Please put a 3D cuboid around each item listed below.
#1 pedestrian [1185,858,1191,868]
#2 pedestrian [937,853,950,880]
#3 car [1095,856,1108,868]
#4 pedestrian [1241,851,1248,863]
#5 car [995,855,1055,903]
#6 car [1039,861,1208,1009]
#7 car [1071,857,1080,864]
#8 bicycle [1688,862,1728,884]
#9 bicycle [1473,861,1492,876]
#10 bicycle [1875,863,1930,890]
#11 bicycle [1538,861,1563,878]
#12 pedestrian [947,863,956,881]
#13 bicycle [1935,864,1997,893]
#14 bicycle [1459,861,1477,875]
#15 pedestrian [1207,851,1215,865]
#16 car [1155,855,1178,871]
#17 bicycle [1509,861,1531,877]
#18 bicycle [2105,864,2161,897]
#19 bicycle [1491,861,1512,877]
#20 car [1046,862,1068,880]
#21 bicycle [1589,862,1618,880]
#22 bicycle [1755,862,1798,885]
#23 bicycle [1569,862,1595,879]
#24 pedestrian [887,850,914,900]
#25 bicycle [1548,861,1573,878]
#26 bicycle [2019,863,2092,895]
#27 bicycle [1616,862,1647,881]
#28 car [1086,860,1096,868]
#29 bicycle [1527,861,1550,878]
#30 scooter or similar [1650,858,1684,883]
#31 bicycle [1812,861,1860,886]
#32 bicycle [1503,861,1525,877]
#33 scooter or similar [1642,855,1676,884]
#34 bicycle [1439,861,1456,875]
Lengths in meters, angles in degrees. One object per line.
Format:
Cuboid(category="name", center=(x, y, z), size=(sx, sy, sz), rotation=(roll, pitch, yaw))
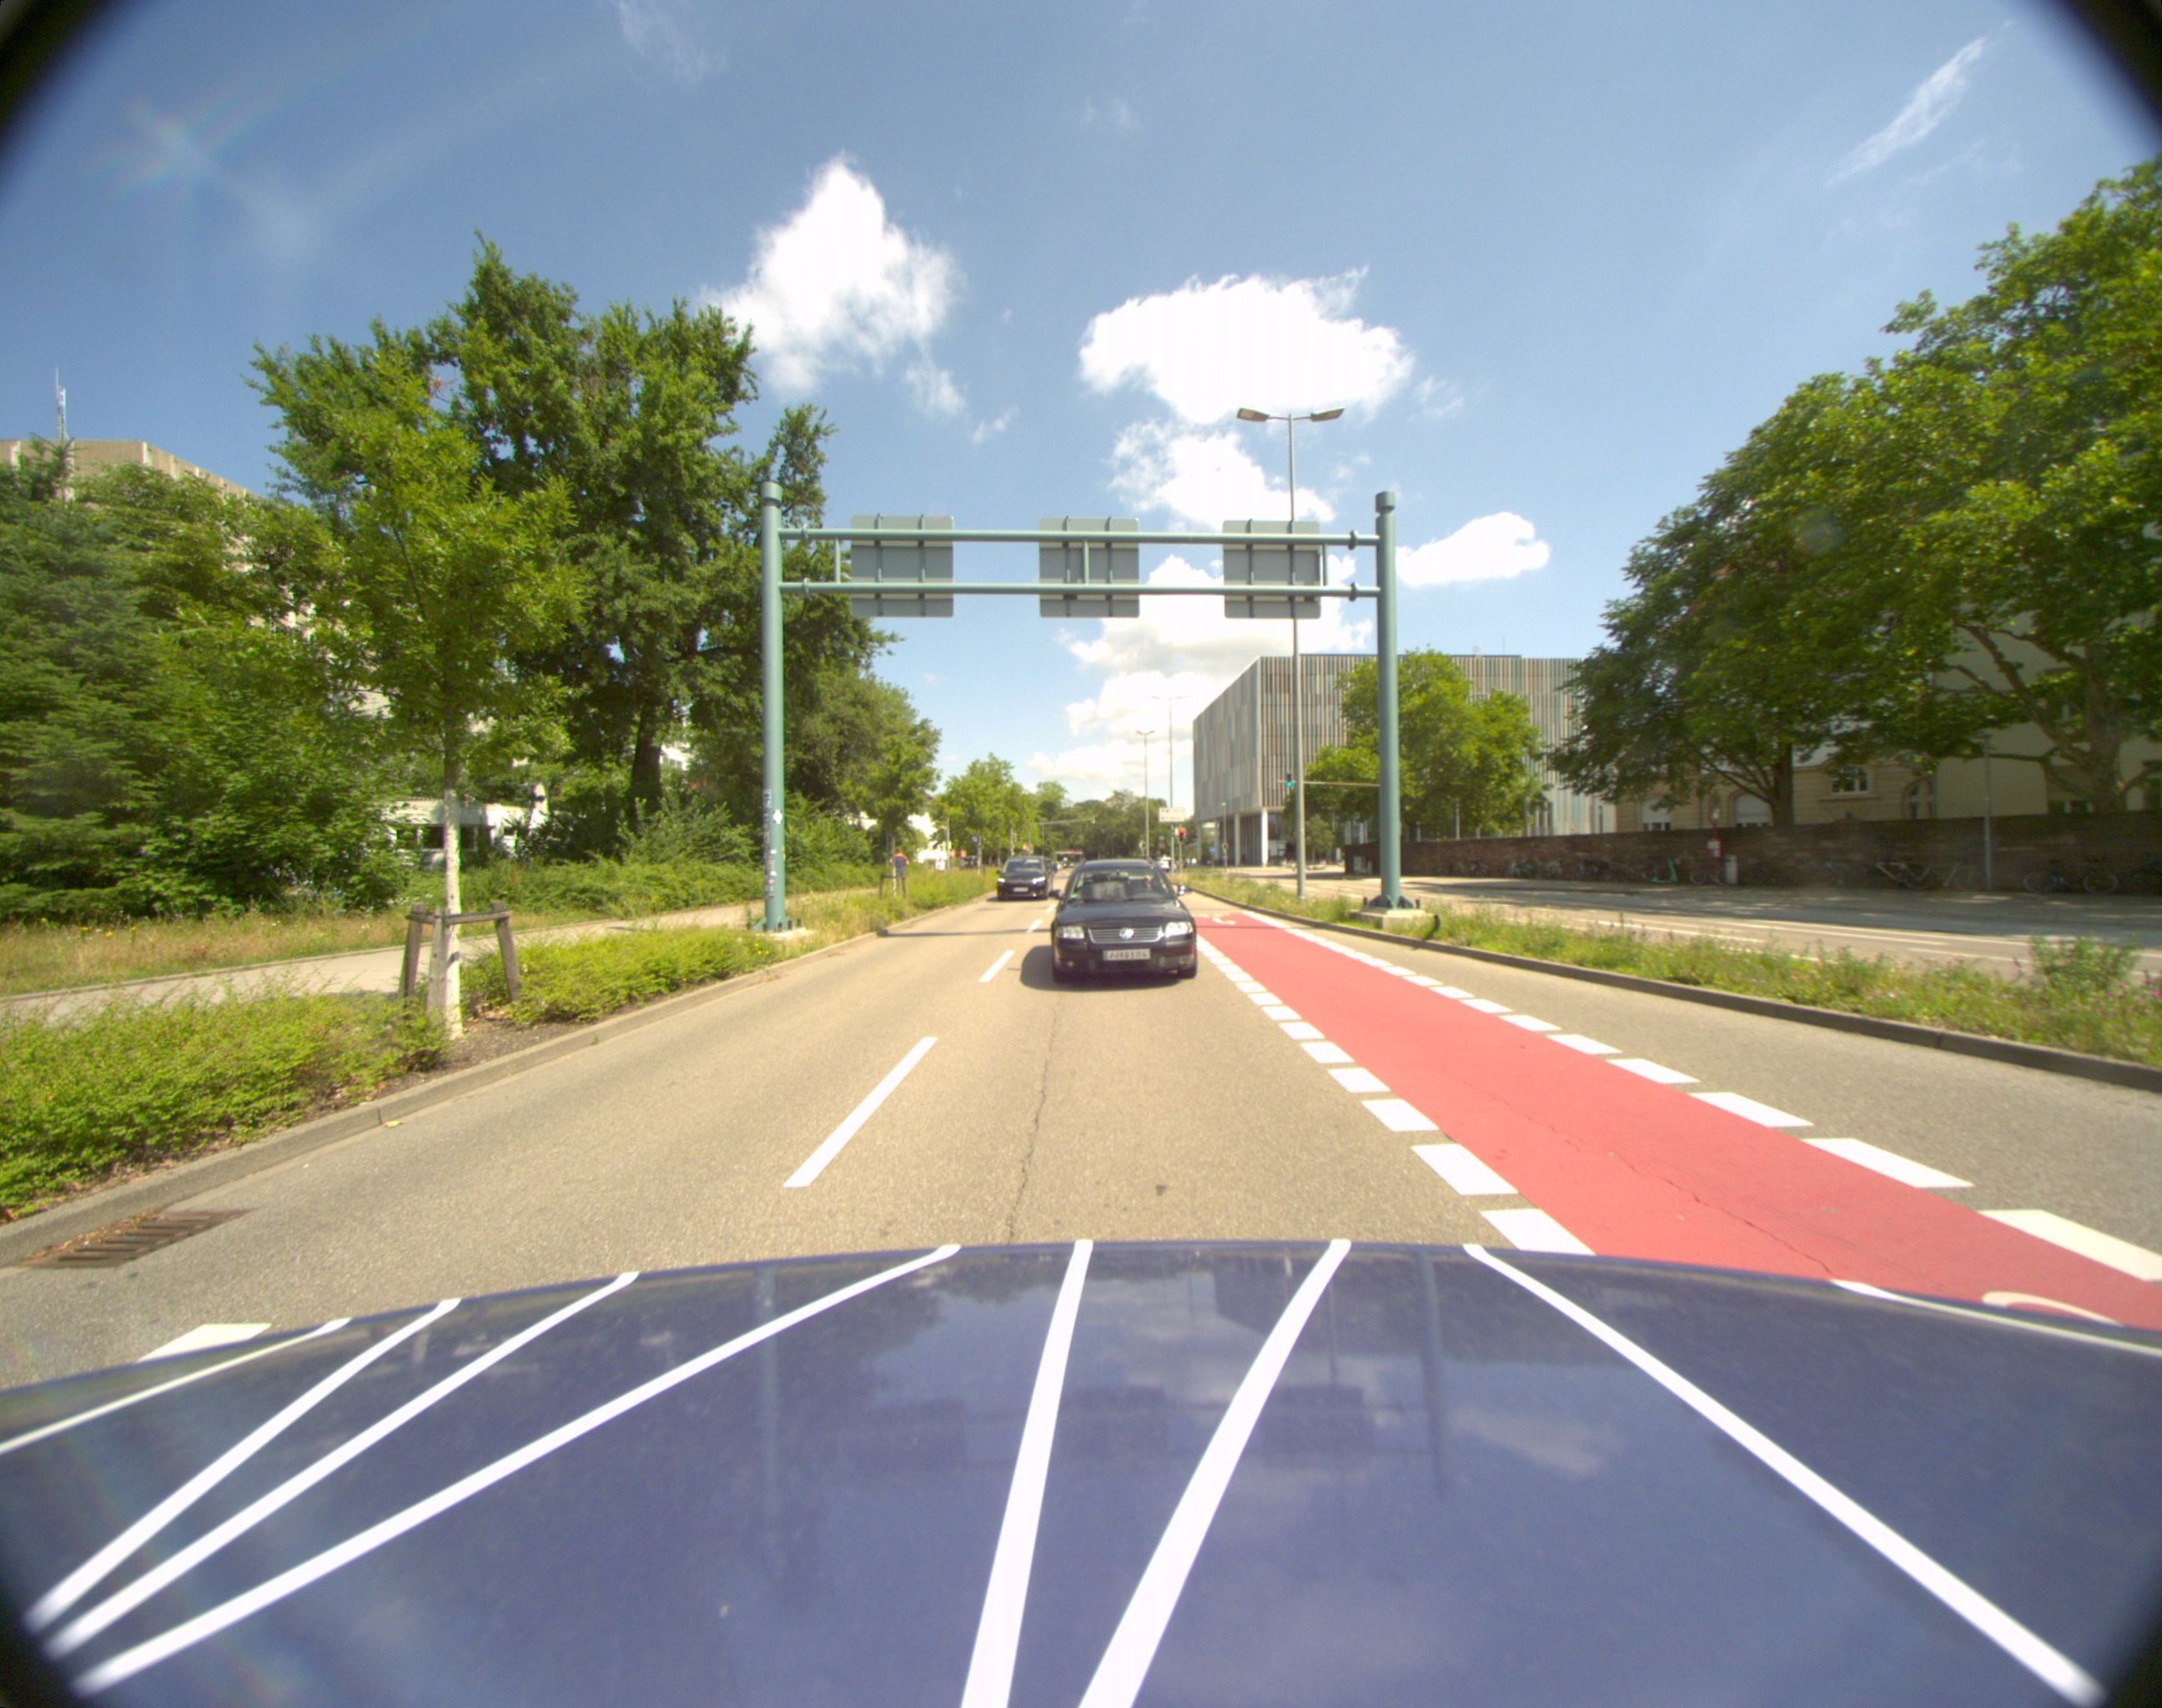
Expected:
Cuboid(category="pedestrian", center=(15.496, 1.251, 109.771), size=(0.697, 1.445, 0.688), rotation=(-1, 0, -6))
Cuboid(category="pedestrian", center=(-10.677, 0.963, 58.790), size=(0.846, 2.026, 0.900), rotation=(-1, 0, -18))
Cuboid(category="car", center=(2.910, 1.116, 109.546), size=(1.723, 1.545, 4.594), rotation=(-3, 0, 1))
Cuboid(category="pedestrian", center=(26.978, 0.462, 125.384), size=(0.864, 2.002, 0.995), rotation=(-1, 0, 0))
Cuboid(category="car", center=(-2.009, 0.873, 28.482), size=(1.816, 1.598, 4.479), rotation=(-3, 0, 1))
Cuboid(category="car", center=(0.483, 0.886, 10.373), size=(1.723, 1.472, 4.594), rotation=(-3, 0, 1))
Cuboid(category="car", center=(-1.066, 1.278, 155.827), size=(1.806, 1.361, 4.157), rotation=(-1, 1, 1))
Cuboid(category="bicycle", center=(24.820, 0.737, 30.095), size=(0.265, 0.826, 1.233), rotation=(-1, 0, -21))
Cuboid(category="bicycle", center=(22.951, 0.811, 43.449), size=(0.265, 0.826, 1.234), rotation=(-1, 0, -11))
Cuboid(category="bicycle", center=(25.977, 0.698, 24.053), size=(0.265, 0.826, 1.235), rotation=(-1, 0, -11))
Cuboid(category="bicycle", center=(23.186, 0.747, 37.541), size=(0.265, 0.826, 1.234), rotation=(-1, 0, -11))
Cuboid(category="pedestrian", center=(-11.725, 1.630, 68.858), size=(0.767, 1.601, 0.764), rotation=(-1, 0, -12))
Cuboid(category="bicycle", center=(26.244, 0.719, 22.544), size=(0.265, 0.826, 1.235), rotation=(-1, 0, -11))
Cuboid(category="bicycle", center=(22.805, 0.829, 44.783), size=(0.265, 0.826, 1.235), rotation=(-1, 0, -11))
Cuboid(category="pedestrian", center=(18.646, 0.613, 108.873), size=(0.864, 2.002, 0.995), rotation=(-1, 0, -1))
Cuboid(category="car", center=(9.488, 0.963, 84.327), size=(1.999, 1.701, 4.512), rotation=(-1, 0, -1))
Cuboid(category="bicycle", center=(23.360, 0.787, 40.423), size=(0.265, 0.826, 1.234), rotation=(-1, 0, -11))
Cuboid(category="bicycle", center=(27.130, 0.667, 19.361), size=(0.265, 0.826, 1.234), rotation=(-1, 0, -13))
Cuboid(category="bicycle", center=(23.154, 0.815, 41.818), size=(0.265, 0.826, 1.234), rotation=(-1, 0, -11))
Cuboid(category="car", center=(-2.320, 1.633, 73.718), size=(1.816, 1.598, 4.479), rotation=(-3, 0, 1))
Cuboid(category="bicycle", center=(24.039, 0.781, 34.969), size=(0.265, 0.826, 1.235), rotation=(-1, 0, -11))
Cuboid(category="bicycle", center=(25.190, 0.704, 27.535), size=(0.265, 0.826, 1.235), rotation=(-1, 0, -11))
Cuboid(category="bicycle", center=(23.877, 0.777, 36.216), size=(0.265, 0.826, 1.235), rotation=(-1, 0, -11))
Cuboid(category="pedestrian", center=(-6.450, 0.726, 27.204), size=(0.639, 1.754, 0.887), rotation=(-1, 0, 7))
Cuboid(category="bicycle", center=(23.665, 0.746, 37.483), size=(0.265, 0.826, 1.235), rotation=(-1, 0, -11))
Cuboid(category="bicycle", center=(26.622, 0.667, 20.784), size=(0.265, 0.826, 1.234), rotation=(-1, 0, -13))
Cuboid(category="bicycle", center=(24.155, 0.768, 33.351), size=(0.265, 0.826, 1.235), rotation=(-1, 0, -11))
Cuboid(category="car", center=(1.866, 1.897, 142.431), size=(1.806, 1.361, 4.157), rotation=(-1, 1, 1))
Cuboid(category="bicycle", center=(23.470, 0.785, 39.012), size=(0.265, 0.826, 1.235), rotation=(-1, 0, -11))
Cuboid(category="scooter or similar", center=(24.576, 0.673, 31.865), size=(0.266, 1.014, 1.140), rotation=(-1, 0, -22))
Cuboid(category="bicycle", center=(25.685, 0.644, 25.866), size=(0.265, 0.826, 1.235), rotation=(-1, 0, -11))
Cuboid(category="bicycle", center=(22.854, 0.805, 40.099), size=(0.265, 0.826, 1.234), rotation=(-1, 0, -11))
Cuboid(category="scooter or similar", center=(23.784, 0.621, 31.283), size=(0.265, 1.182, 1.234), rotation=(-1, 0, -11))
Cuboid(category="bicycle", center=(22.491, 0.841, 46.664), size=(0.265, 0.826, 1.235), rotation=(-1, 0, -11))
